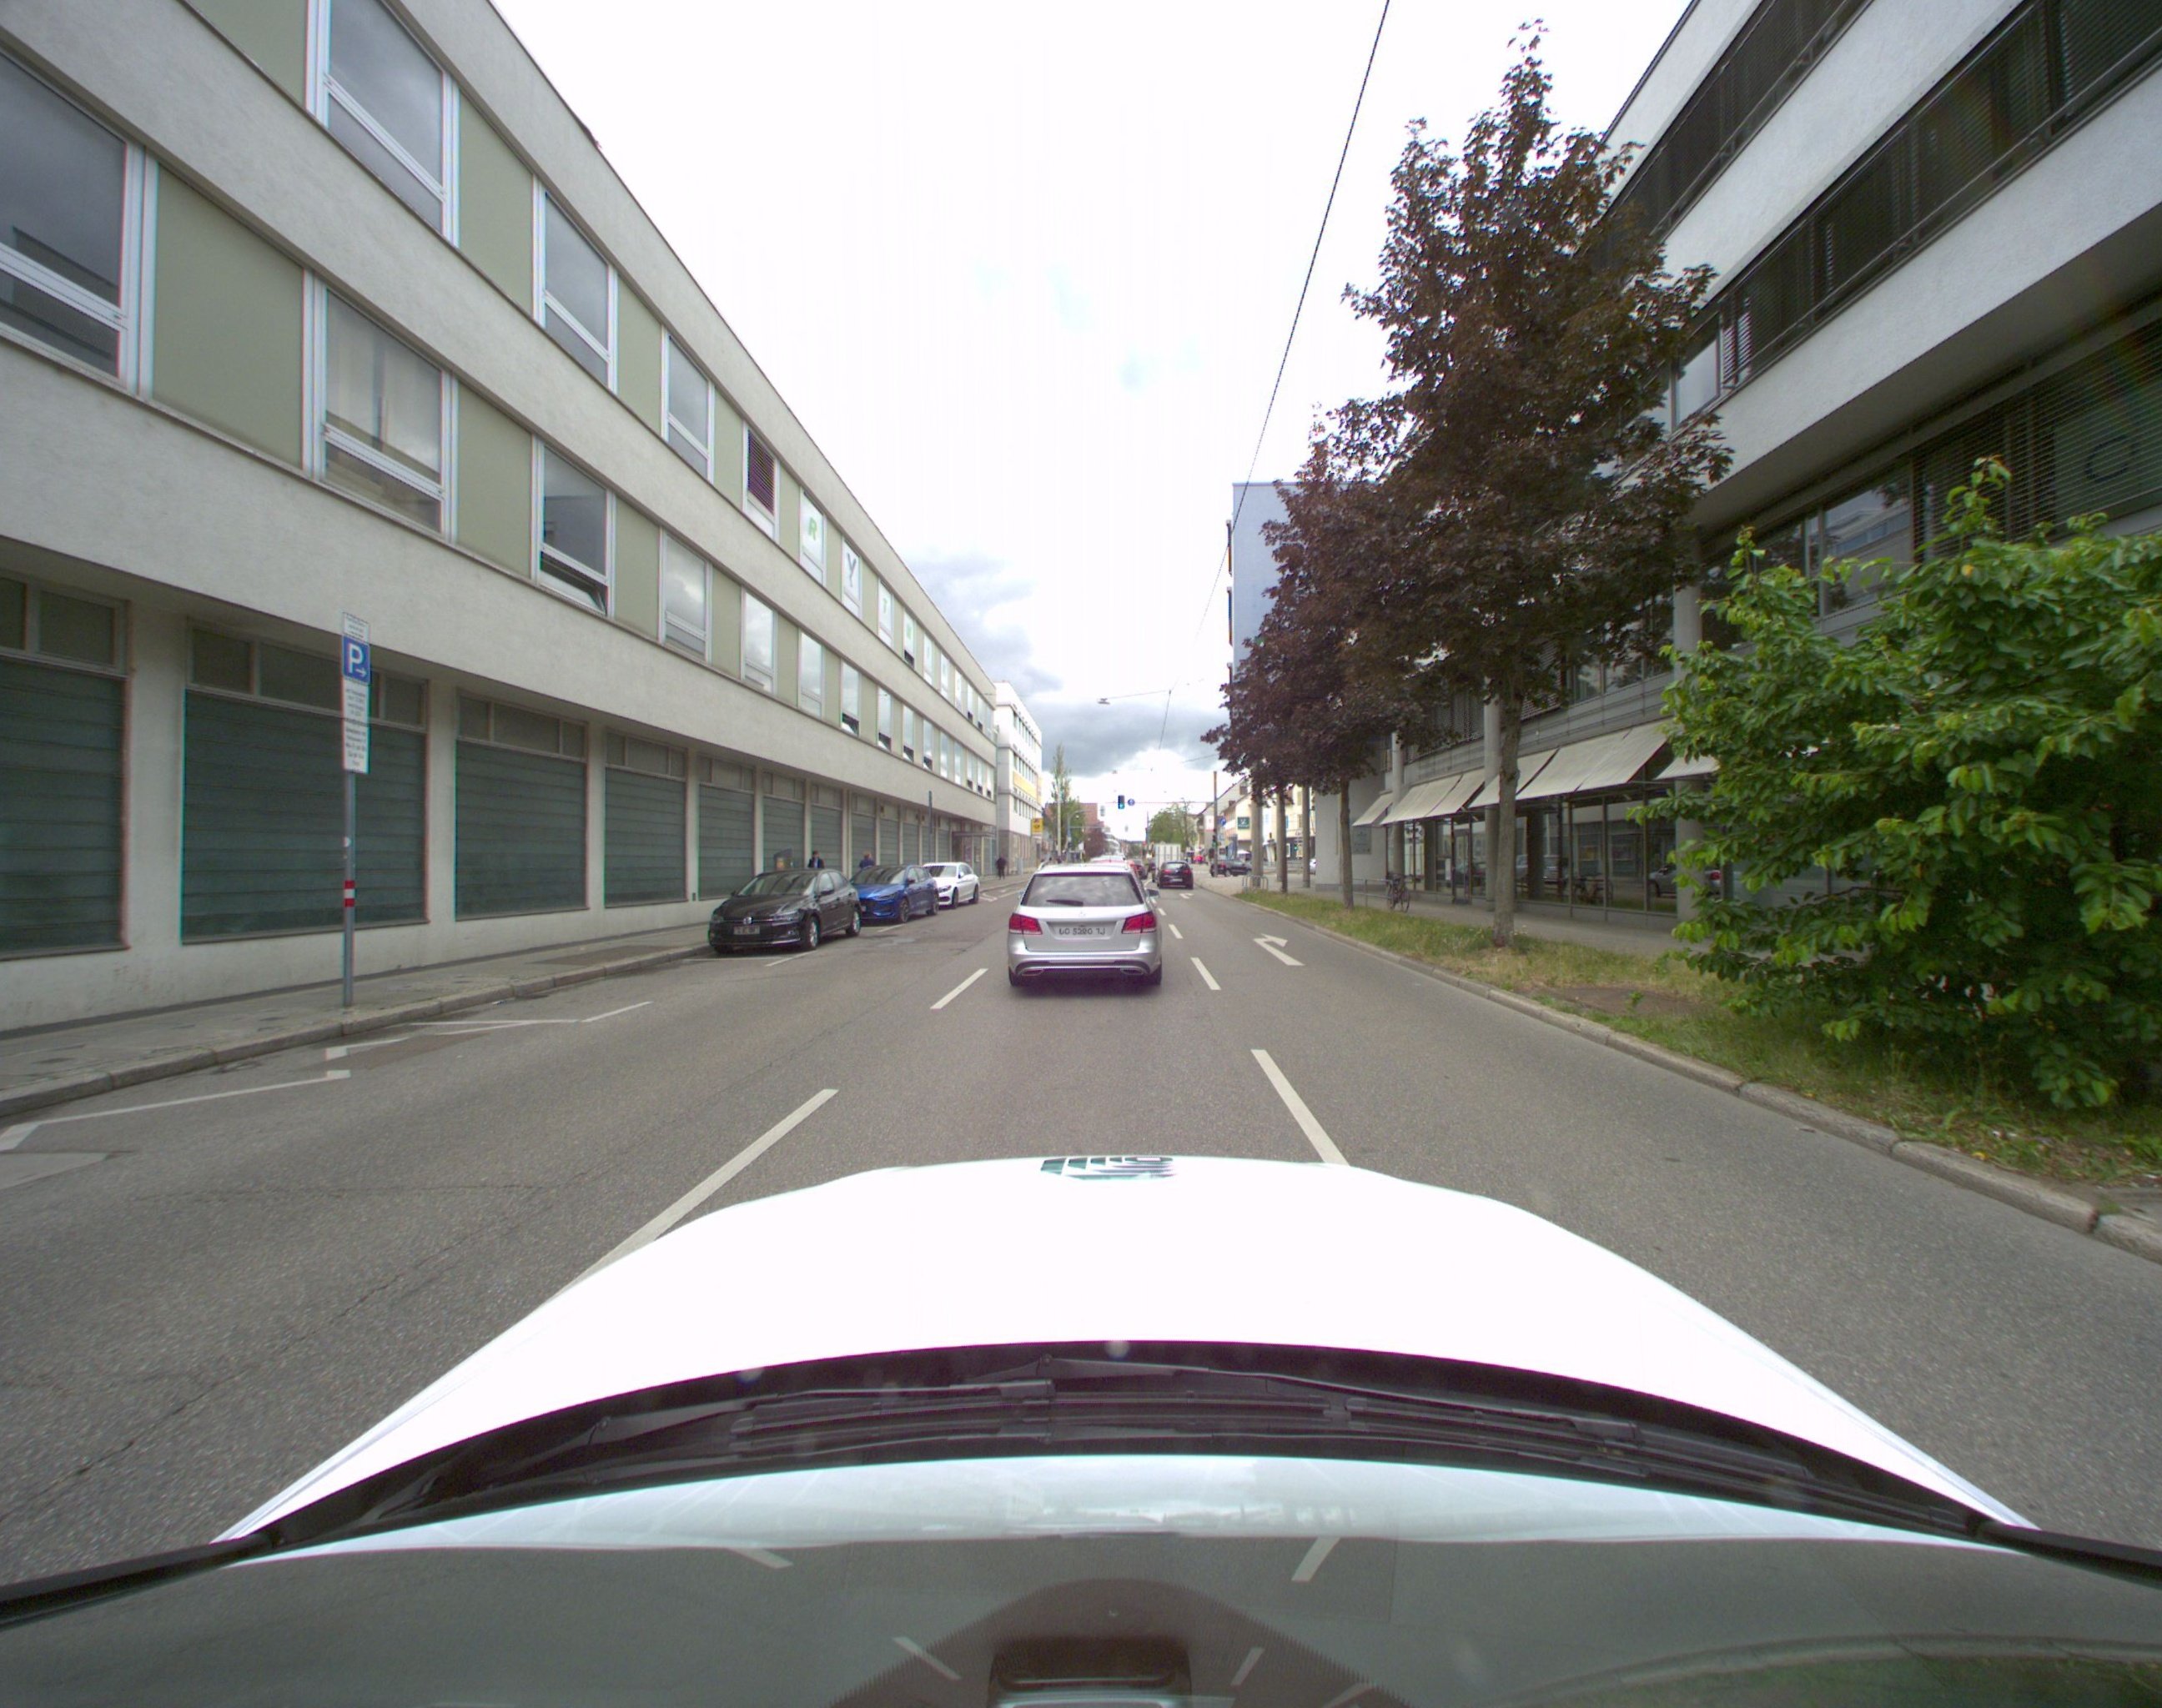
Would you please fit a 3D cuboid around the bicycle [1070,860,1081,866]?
[{"bbox_3d":[-1.050,1.701,149.006,1.935,1.029,0.529,1,-1,-7],"label":"bicycle"}]

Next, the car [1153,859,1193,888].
[{"bbox_3d":[4.717,0.978,42.319,1.728,1.410,4.001,-1,0,1],"label":"car"}]

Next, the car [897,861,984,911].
[{"bbox_3d":[-4.549,0.991,26.979,1.662,1.434,4.559,-2,0,5],"label":"car"}]

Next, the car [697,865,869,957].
[{"bbox_3d":[-5.446,0.974,15.443,1.710,1.425,3.871,-2,0,1],"label":"car"}]

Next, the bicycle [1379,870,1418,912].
[{"bbox_3d":[8.818,1.013,22.683,0.359,1.086,2.028,1,0,1],"label":"bicycle"}]

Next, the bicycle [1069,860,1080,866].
[{"bbox_3d":[-1.142,1.704,149.605,1.935,1.029,0.529,1,-1,-7],"label":"bicycle"}]

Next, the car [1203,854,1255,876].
[{"bbox_3d":[11.818,0.842,64.971,3.814,1.670,1.909,0,0,-34],"label":"car"}]

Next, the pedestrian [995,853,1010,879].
[{"bbox_3d":[-5.239,0.813,54.195,0.858,1.718,1.032,1,0,1],"label":"pedestrian"}]

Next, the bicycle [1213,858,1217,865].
[{"bbox_3d":[20.674,1.167,125.832,0.446,1.107,2.151,-1,0,4],"label":"bicycle"}]

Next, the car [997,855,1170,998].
[{"bbox_3d":[0.075,0.787,10.836,1.839,1.508,4.172,-1,0,1],"label":"car"}]

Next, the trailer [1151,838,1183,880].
[{"bbox_3d":[5.545,0.323,53.061,1.869,2.613,4.327,2,0,4],"label":"trailer"}]

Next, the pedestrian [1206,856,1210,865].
[{"bbox_3d":[20.109,1.015,128.617,0.576,1.469,0.651,1,-1,1],"label":"pedestrian"}]

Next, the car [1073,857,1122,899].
[{"bbox_3d":[0.649,0.864,31.044,1.728,1.508,4.001,-1,0,1],"label":"car"}]

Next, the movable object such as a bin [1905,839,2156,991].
[{"bbox_3d":[10.082,0.606,8.734,1.094,1.465,1.333,-2,-1,1],"label":"movable object such as a bin"}]

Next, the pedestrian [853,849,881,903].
[{"bbox_3d":[-6.916,0.708,26.365,0.587,1.718,1.055,-1,0,1],"label":"pedestrian"}]

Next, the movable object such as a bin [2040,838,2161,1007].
[{"bbox_3d":[10.049,0.592,7.373,1.118,1.465,1.333,-2,-1,1],"label":"movable object such as a bin"}]

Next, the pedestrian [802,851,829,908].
[{"bbox_3d":[-8.092,0.758,24.876,0.587,1.718,0.650,-1,-1,1],"label":"pedestrian"}]

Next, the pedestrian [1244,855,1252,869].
[{"bbox_3d":[20.192,0.938,98.647,0.708,1.718,0.642,0,-1,-44],"label":"pedestrian"}]

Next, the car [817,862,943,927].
[{"bbox_3d":[-5.050,0.958,21.110,1.806,1.426,4.270,-2,0,5],"label":"car"}]

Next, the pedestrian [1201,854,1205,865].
[{"bbox_3d":[19.781,0.909,132.058,0.577,1.666,0.649,1,-1,-8],"label":"pedestrian"}]

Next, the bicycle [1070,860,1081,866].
[{"bbox_3d":[-0.953,1.698,148.340,1.935,1.029,0.529,1,-1,-7],"label":"bicycle"}]

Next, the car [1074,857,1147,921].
[{"bbox_3d":[0.770,0.836,21.364,1.727,1.508,4.002,-1,0,2],"label":"car"}]

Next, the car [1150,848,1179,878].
[{"bbox_3d":[5.852,0.626,57.492,1.869,1.945,4.911,2,0,4],"label":"car"}]

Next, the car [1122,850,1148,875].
[{"bbox_3d":[4.007,0.621,61.304,1.821,1.785,4.001,-1,0,2],"label":"car"}]

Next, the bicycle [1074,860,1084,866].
[{"bbox_3d":[-0.410,1.730,152.305,1.935,1.029,0.529,1,-1,-7],"label":"bicycle"}]

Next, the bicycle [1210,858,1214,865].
[{"bbox_3d":[20.227,1.179,125.855,0.446,1.091,2.151,-1,0,4],"label":"bicycle"}]

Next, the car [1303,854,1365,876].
[{"bbox_3d":[20.662,0.883,66.706,4.527,1.605,1.741,2,0,2],"label":"car"}]

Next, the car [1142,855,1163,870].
[{"bbox_3d":[6.967,0.829,79.656,1.728,1.410,4.001,-1,0,1],"label":"car"}]

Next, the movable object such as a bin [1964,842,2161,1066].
[{"bbox_3d":[7.721,0.657,5.877,1.123,1.465,1.413,-2,-1,1],"label":"movable object such as a bin"}]

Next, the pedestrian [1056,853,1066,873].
[{"bbox_3d":[-1.718,0.775,69.002,0.643,1.718,0.785,1,0,10],"label":"pedestrian"}]

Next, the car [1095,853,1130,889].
[{"bbox_3d":[1.604,0.857,42.749,1.728,1.759,4.001,-1,0,1],"label":"car"}]
